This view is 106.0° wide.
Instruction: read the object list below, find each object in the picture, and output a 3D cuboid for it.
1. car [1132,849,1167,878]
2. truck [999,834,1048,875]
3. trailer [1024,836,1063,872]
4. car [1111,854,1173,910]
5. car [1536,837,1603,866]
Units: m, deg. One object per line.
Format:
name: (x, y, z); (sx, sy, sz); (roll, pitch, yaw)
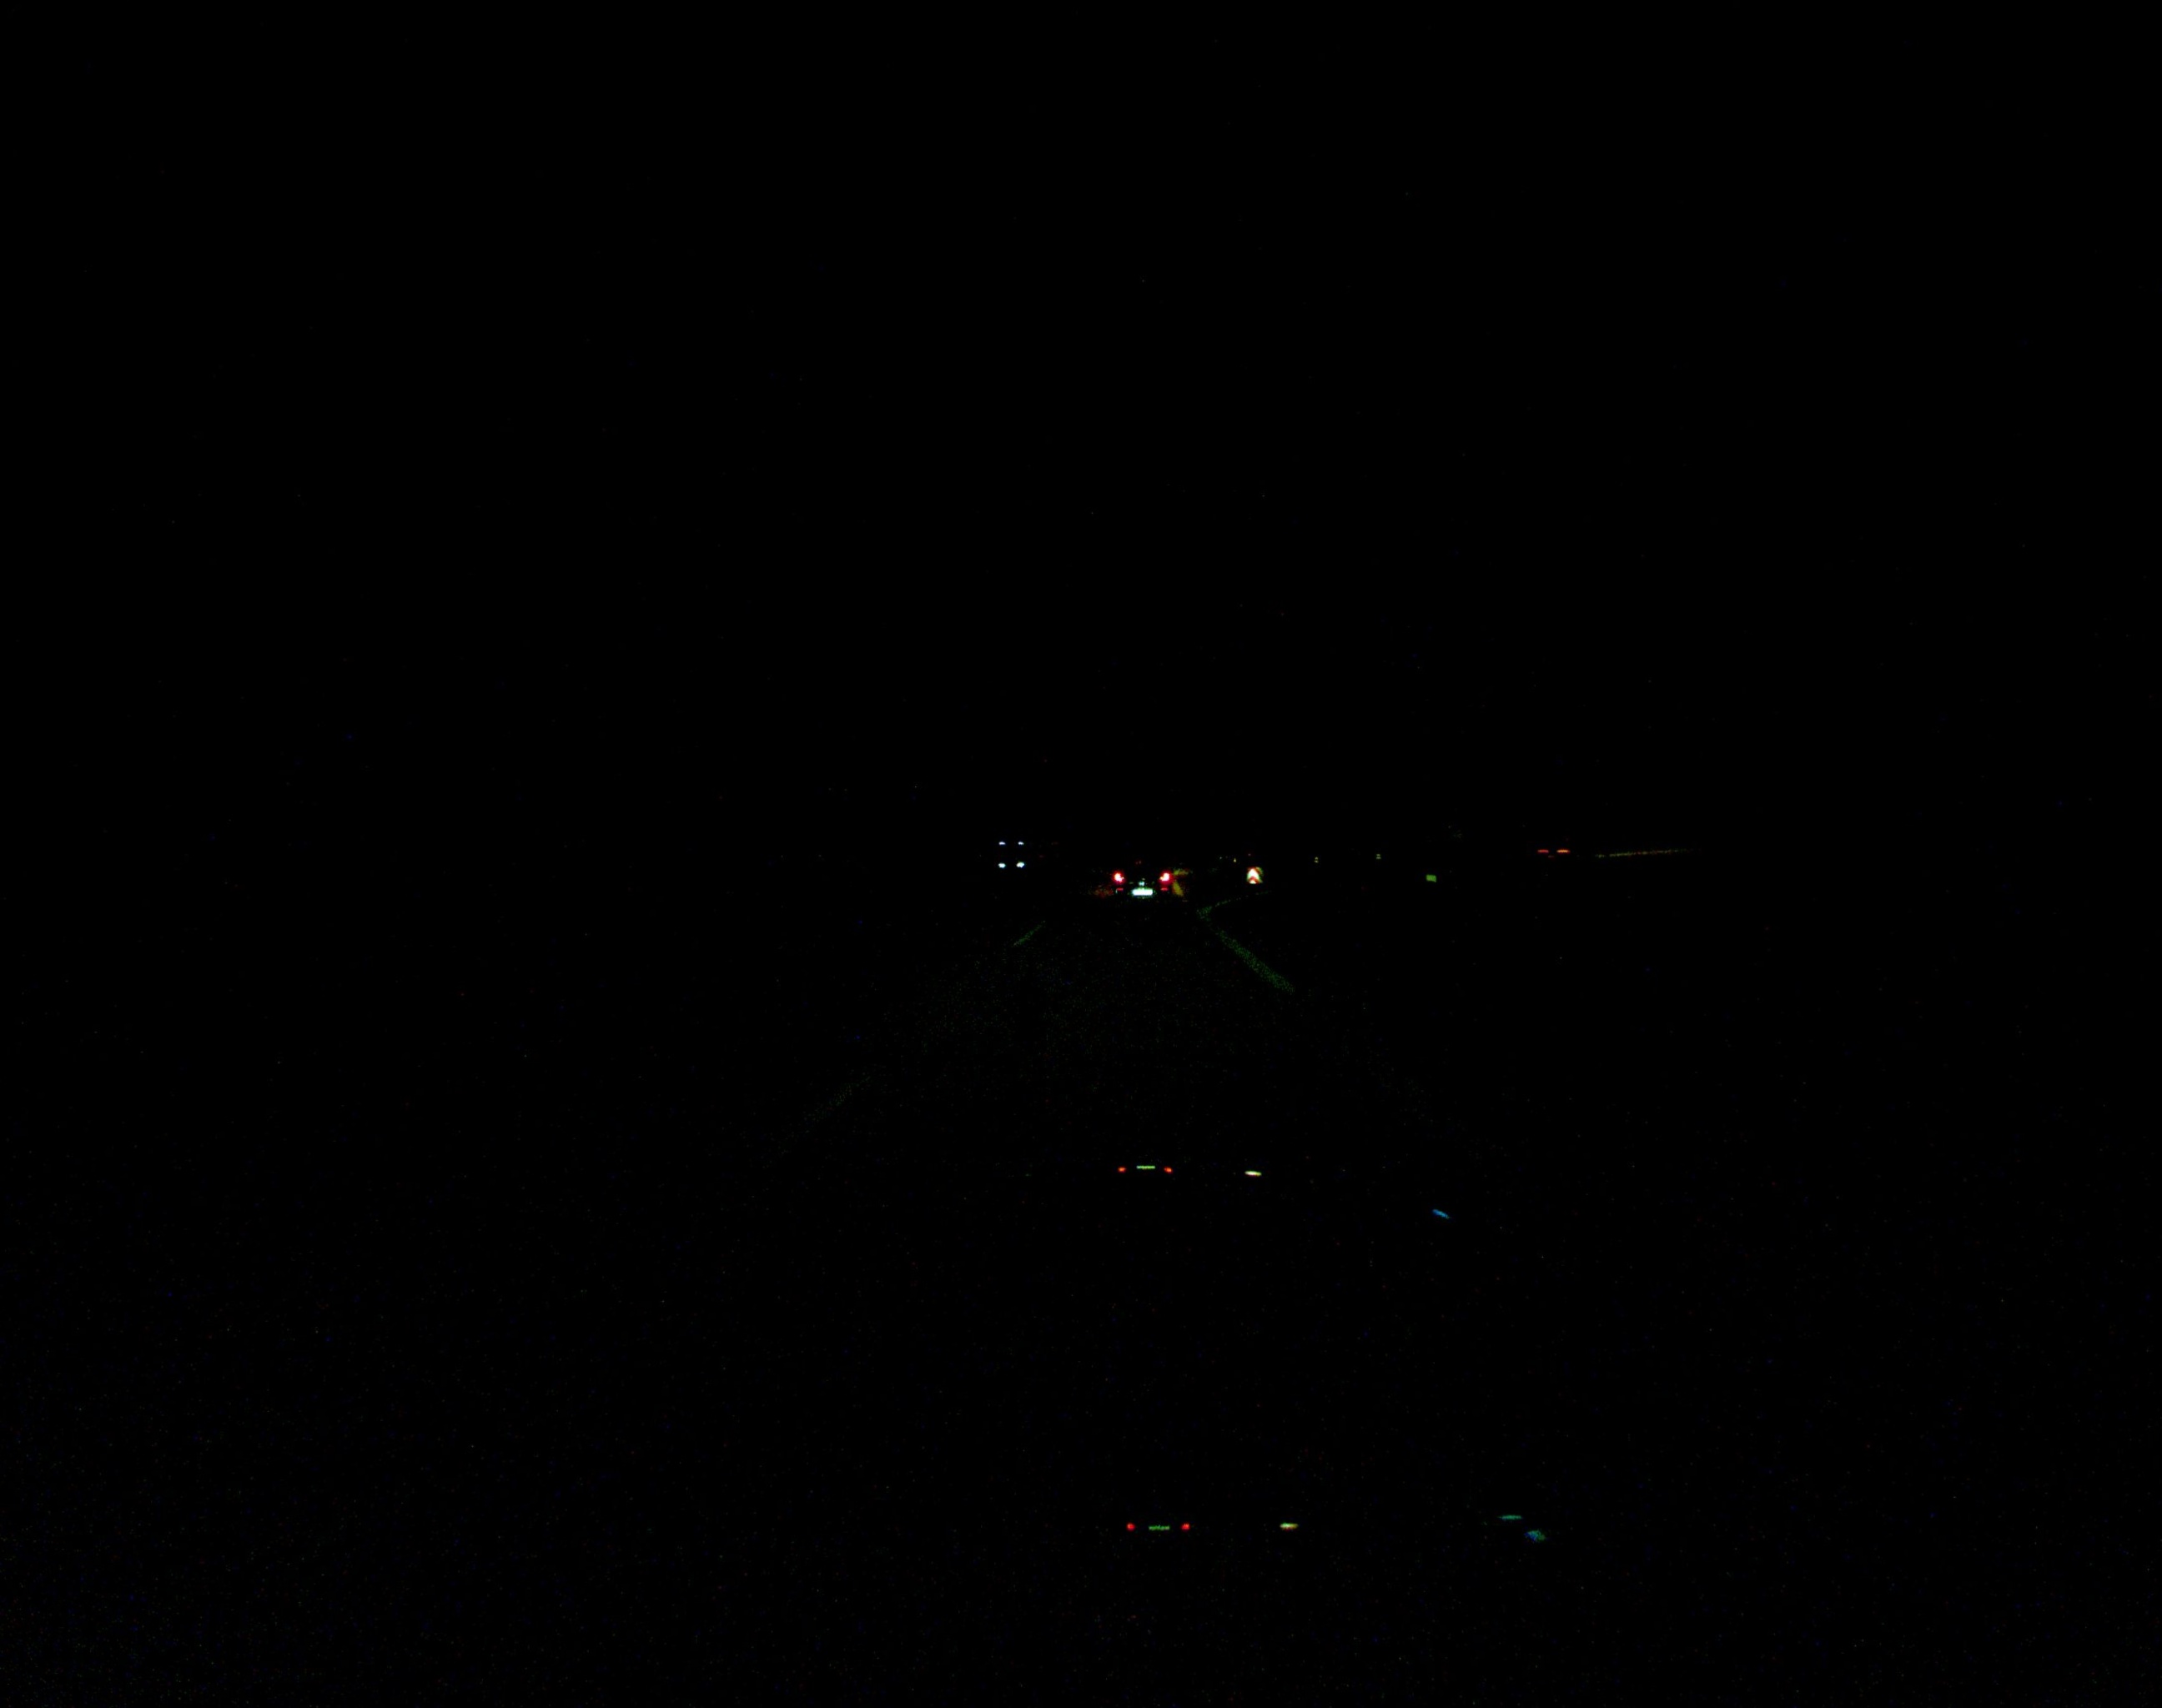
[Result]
car: (4.261, 0.561, 50.147); (1.896, 1.698, 4.009); (-2, 0, 8)
truck: (-6.018, 0.026, 86.980); (2.665, 4.044, 10.681); (-2, 0, 9)
trailer: (-4.351, -0.060, 96.519); (2.701, 3.956, 9.070); (-2, 0, 9)
car: (1.717, 0.759, 24.090); (1.583, 1.508, 4.000); (0, 0, 1)
car: (32.547, -0.173, 54.223); (4.276, 1.816, 1.920); (-2, 0, -29)
